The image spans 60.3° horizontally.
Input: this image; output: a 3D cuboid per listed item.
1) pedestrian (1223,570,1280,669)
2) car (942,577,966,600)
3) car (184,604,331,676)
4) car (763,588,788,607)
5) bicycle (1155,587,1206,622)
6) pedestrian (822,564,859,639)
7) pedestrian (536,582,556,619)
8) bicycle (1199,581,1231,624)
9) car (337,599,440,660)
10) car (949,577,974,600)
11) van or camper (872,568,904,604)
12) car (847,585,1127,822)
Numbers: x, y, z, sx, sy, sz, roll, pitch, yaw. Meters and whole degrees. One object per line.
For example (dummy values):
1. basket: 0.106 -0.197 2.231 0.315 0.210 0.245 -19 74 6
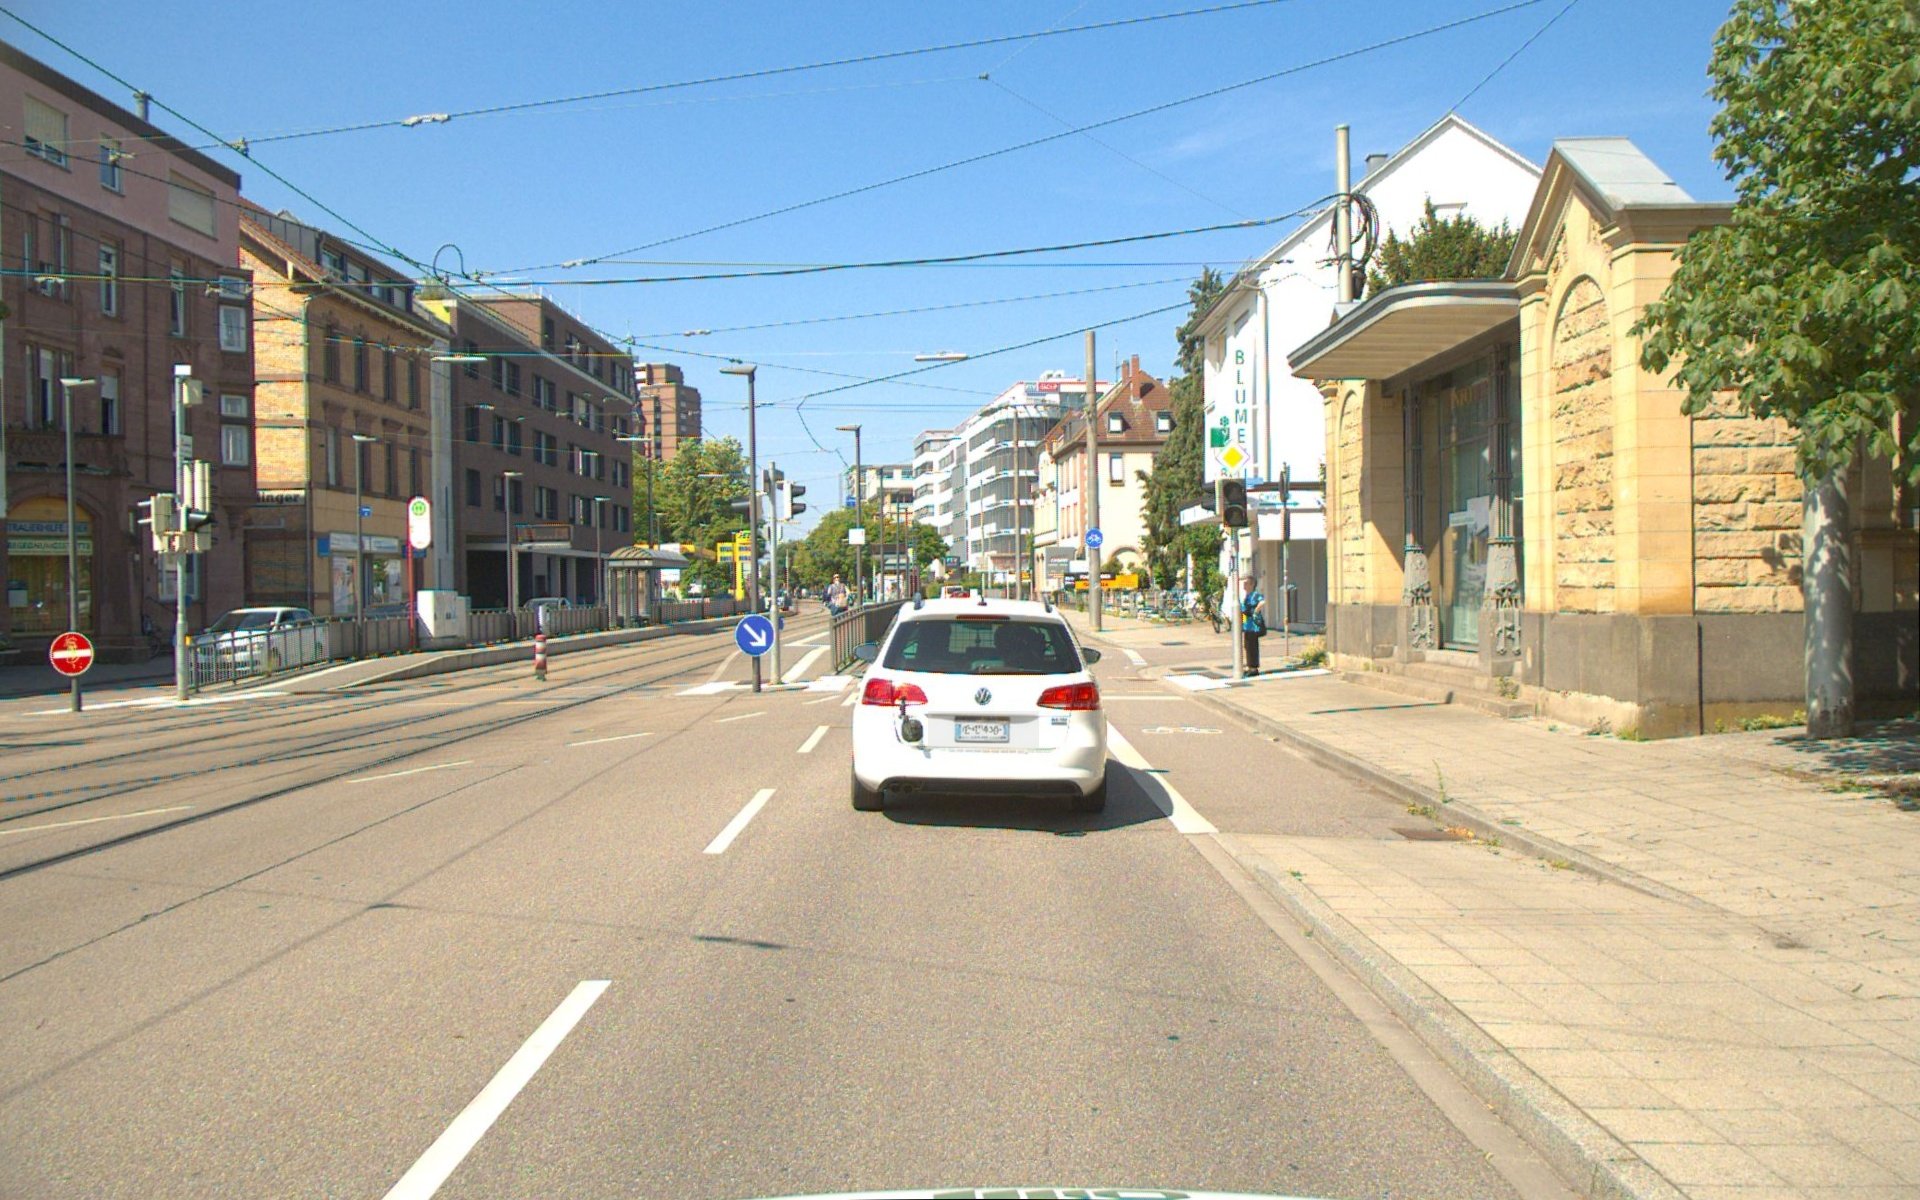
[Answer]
1. pedestrian: 4.654 0.304 26.401 0.763 1.536 0.859 -1 0 17
2. car: -0.570 -1.054 153.351 1.954 2.049 3.997 -1 1 -4
3. car: -15.180 0.821 35.963 1.593 1.456 3.962 0 0 -2
4. car: -15.448 -0.240 138.288 1.633 1.492 3.773 -1 1 0
5. bicycle: 7.625 0.149 57.270 1.676 1.150 0.526 -2 0 1
6. pedestrian: -3.005 0.031 41.698 0.809 1.841 0.833 -1 0 0
7. pedestrian: -20.782 0.034 83.100 0.710 1.822 0.964 -2 0 0
8. bicycle: 7.118 0.051 46.103 0.710 1.159 2.197 -1 1 12
9. car: -15.043 0.740 43.719 1.541 1.484 3.812 -2 1 -3
10. car: 0.115 -1.032 147.934 1.954 2.049 3.997 -1 1 -4
11. van or camper: -6.922 -1.340 157.616 2.885 3.235 6.609 -1 1 -3
12. car: 0.180 0.625 12.181 1.717 1.442 3.853 1 1 0
